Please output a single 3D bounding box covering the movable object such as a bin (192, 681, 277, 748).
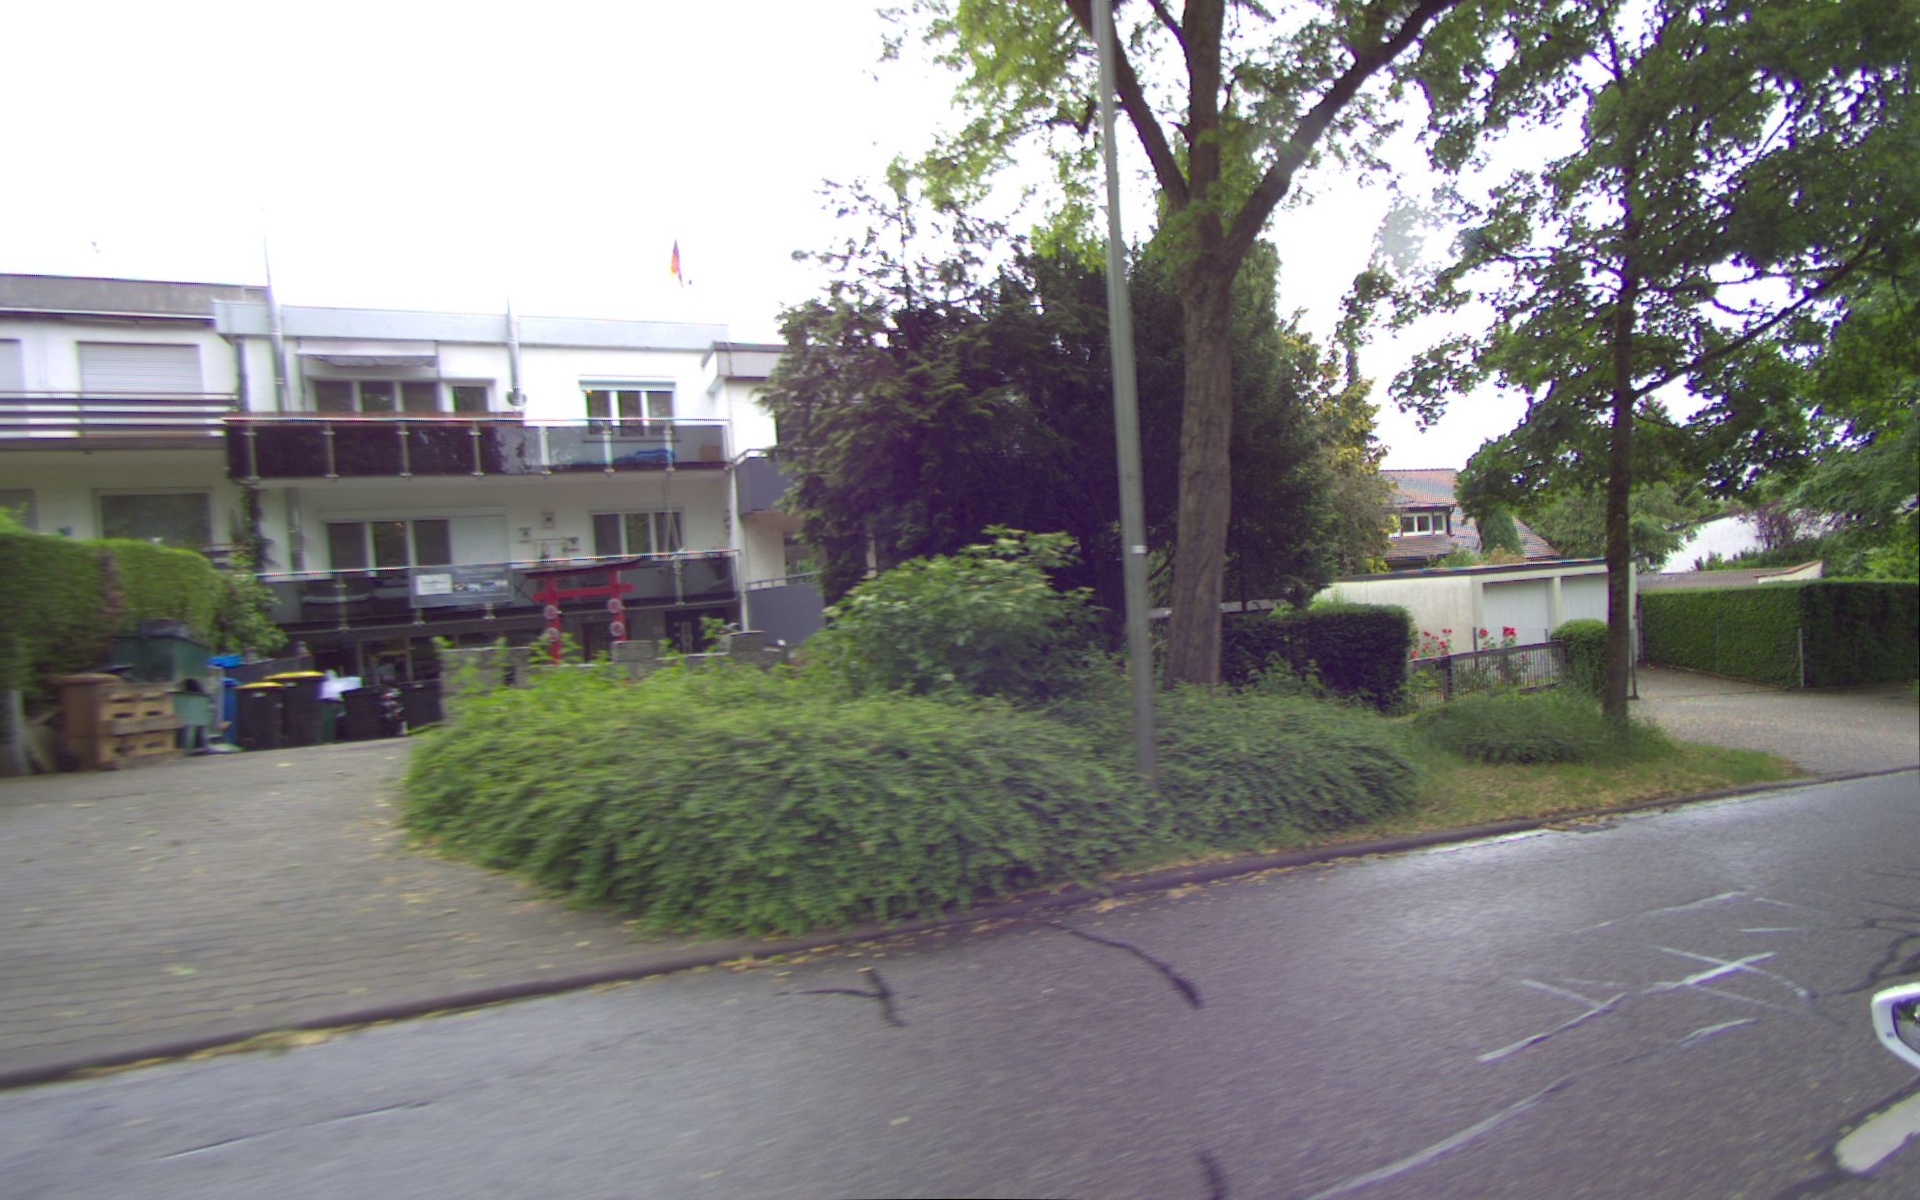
[{"bbox_3d":[-10.568,1.654,14.664,0.906,0.881,0.723,1,-1,-28],"label":"movable object such as a bin"}]

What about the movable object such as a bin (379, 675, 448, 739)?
[{"bbox_3d":[-8.376,1.628,15.421,0.906,0.881,0.723,1,-1,-28],"label":"movable object such as a bin"}]

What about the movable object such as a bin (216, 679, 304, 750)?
[{"bbox_3d":[-9.698,1.572,13.944,0.906,0.881,0.723,1,-1,-28],"label":"movable object such as a bin"}]

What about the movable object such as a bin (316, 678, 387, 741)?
[{"bbox_3d":[-9.546,1.708,15.789,0.906,0.881,0.723,1,-1,-28],"label":"movable object such as a bin"}]
